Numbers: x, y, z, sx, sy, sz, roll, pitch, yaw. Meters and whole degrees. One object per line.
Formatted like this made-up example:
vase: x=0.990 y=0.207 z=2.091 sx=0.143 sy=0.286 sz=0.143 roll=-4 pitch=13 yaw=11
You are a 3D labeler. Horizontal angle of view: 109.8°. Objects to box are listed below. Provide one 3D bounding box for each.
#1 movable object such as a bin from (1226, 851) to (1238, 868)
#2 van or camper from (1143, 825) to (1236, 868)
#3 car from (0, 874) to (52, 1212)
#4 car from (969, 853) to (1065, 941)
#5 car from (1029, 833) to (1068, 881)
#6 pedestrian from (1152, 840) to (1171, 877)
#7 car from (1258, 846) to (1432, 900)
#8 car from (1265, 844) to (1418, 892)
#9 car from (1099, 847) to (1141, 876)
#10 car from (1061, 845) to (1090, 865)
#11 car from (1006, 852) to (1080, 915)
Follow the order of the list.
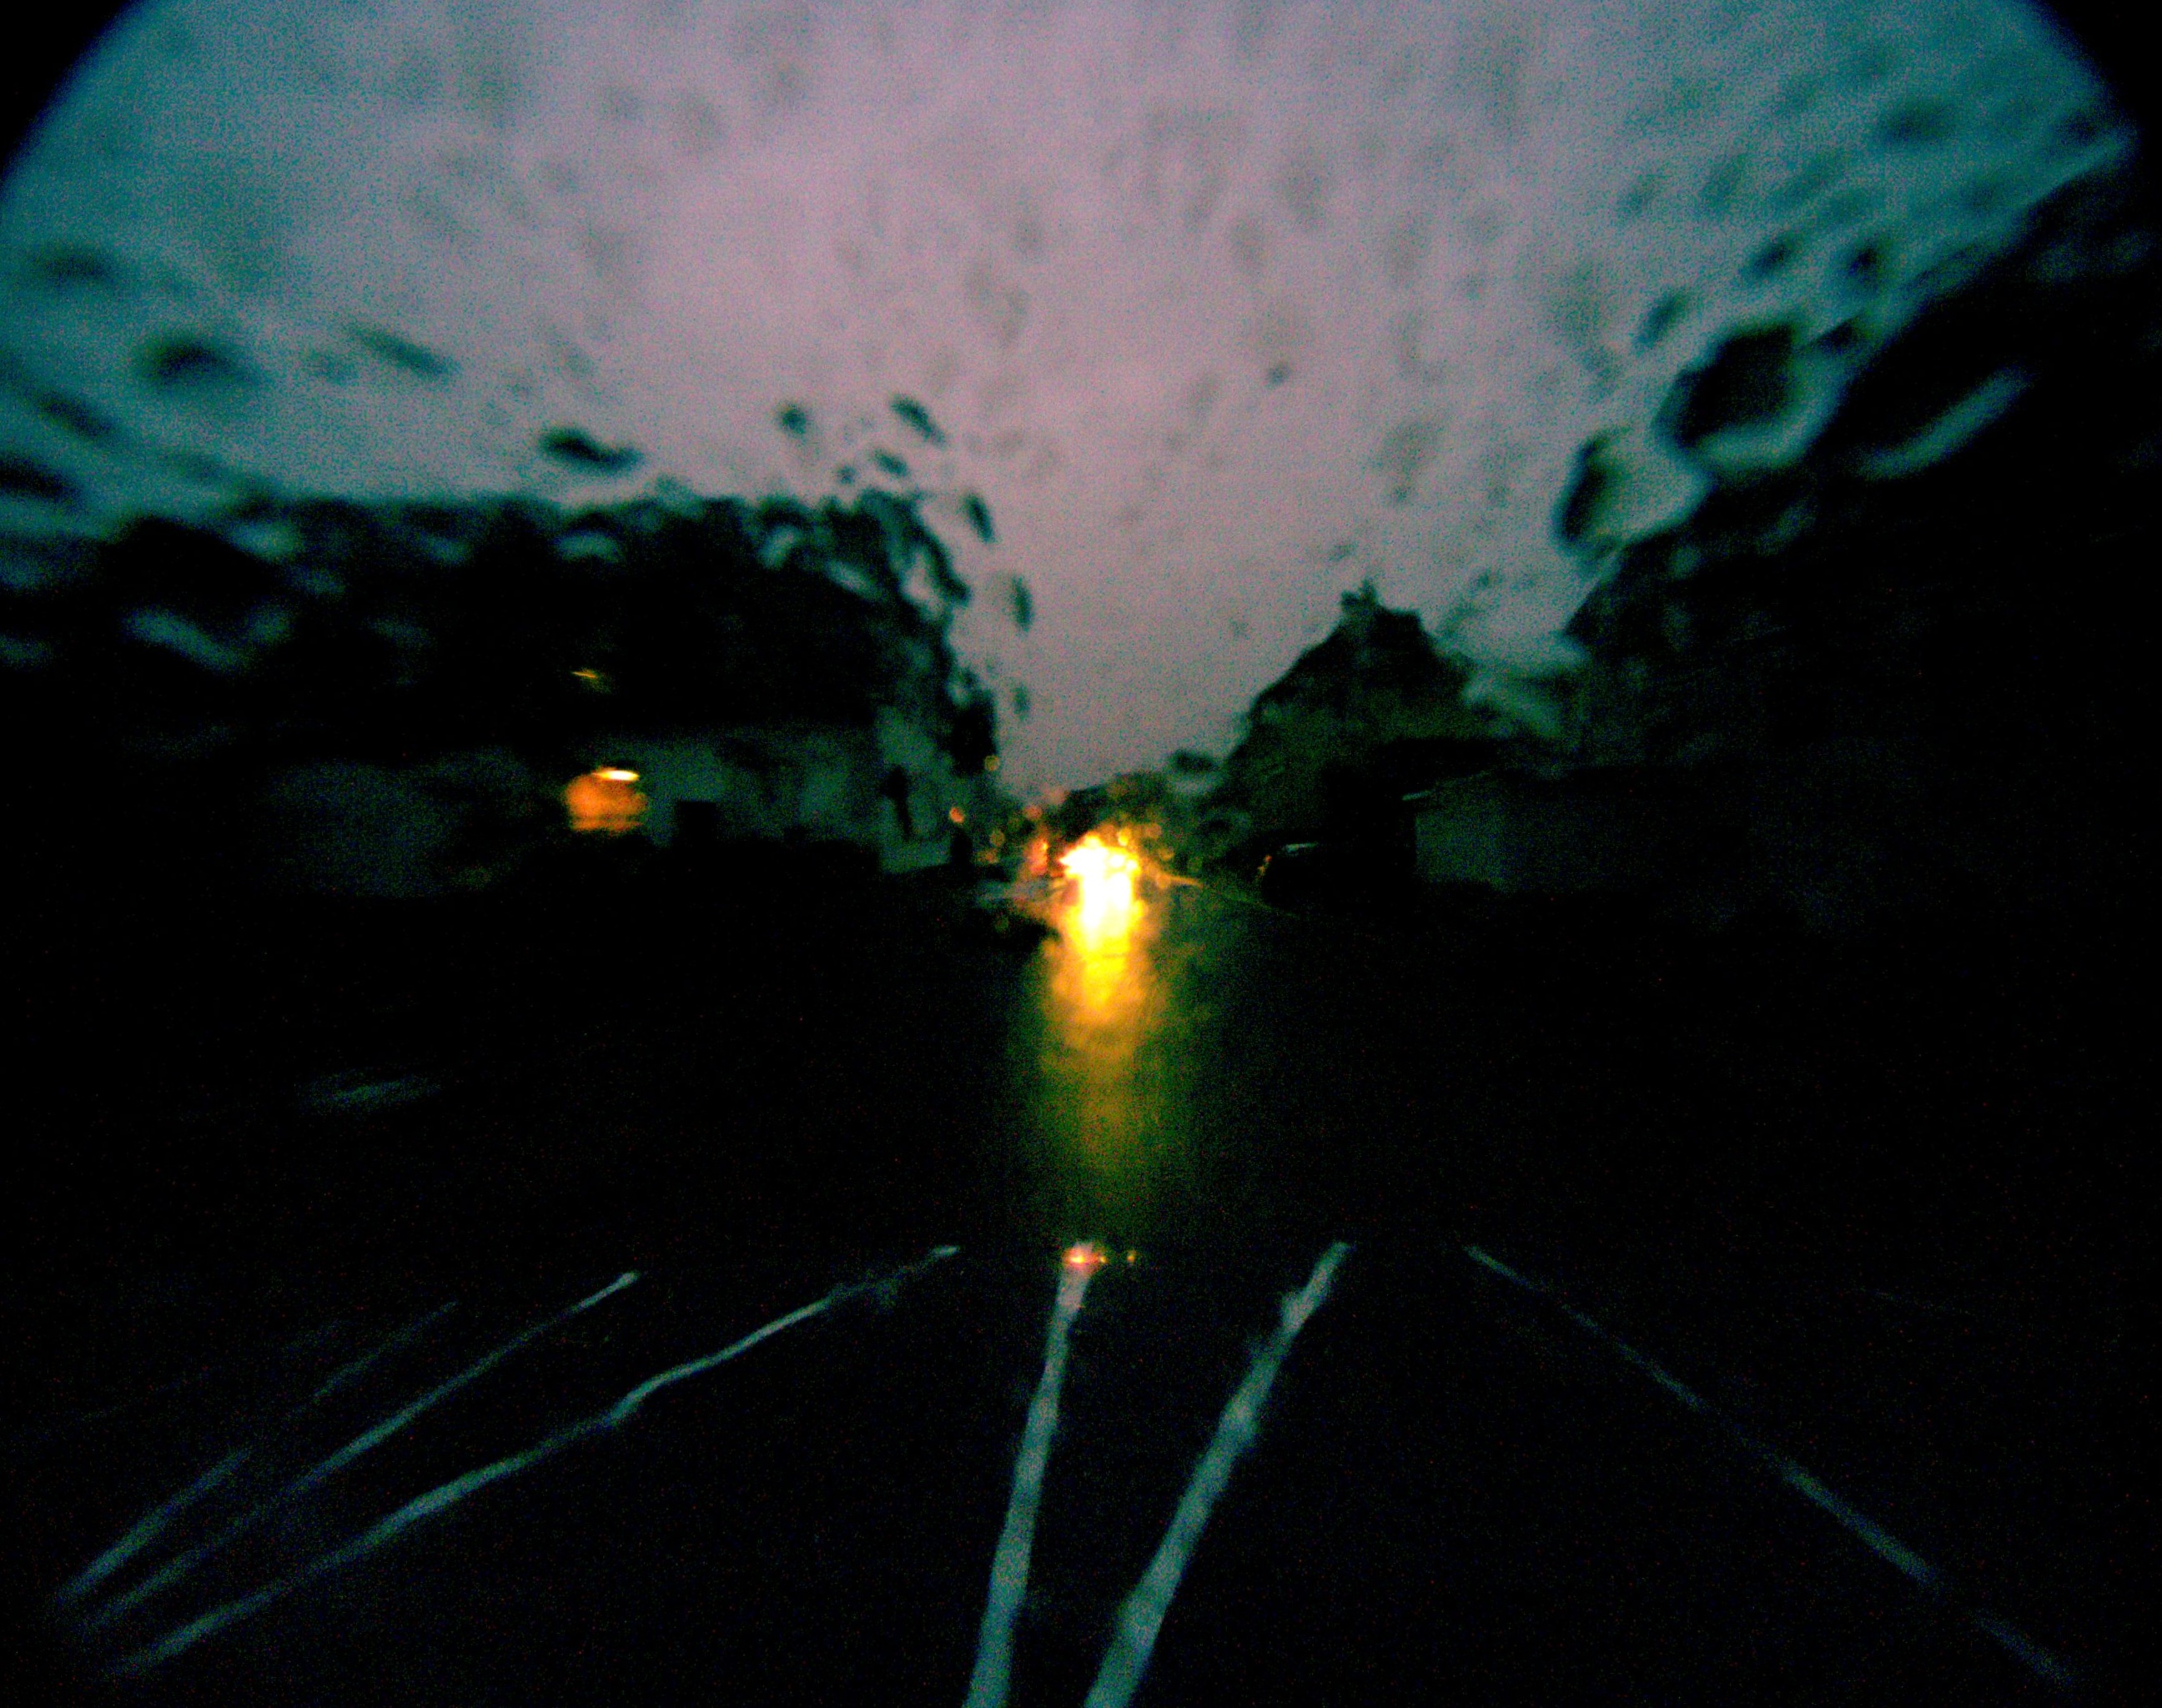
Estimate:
movable object such as a bin: x=9.402 y=0.352 z=47.436 sx=0.618 sy=1.015 sz=0.580 roll=-3 pitch=1 yaw=4
van or camper: x=7.498 y=-0.526 z=52.868 sx=6.074 sy=2.925 sz=2.323 roll=0 pitch=1 yaw=-2
car: x=-5.112 y=0.869 z=1.238 sx=1.814 sy=1.479 sz=4.271 roll=1 pitch=1 yaw=-16
car: x=-1.242 y=0.769 z=15.769 sx=1.642 sy=1.485 sz=3.998 roll=-3 pitch=1 yaw=-2
car: x=-1.878 y=0.138 z=43.915 sx=2.014 sy=2.440 sz=5.613 roll=-3 pitch=1 yaw=-3
pedestrian: x=4.422 y=0.234 z=41.773 sx=0.785 sy=2.002 sz=0.869 roll=-4 pitch=2 yaw=-1
car: x=7.905 y=0.542 z=23.098 sx=4.605 sy=1.462 sz=2.000 roll=-1 pitch=1 yaw=1
car: x=8.764 y=0.452 z=25.882 sx=4.613 sy=1.462 sz=1.892 roll=-1 pitch=1 yaw=4
car: x=2.231 y=0.388 z=44.642 sx=1.991 sy=1.549 sz=4.234 roll=-2 pitch=1 yaw=-3
car: x=-0.505 y=0.079 z=63.847 sx=1.992 sy=1.549 sz=4.233 roll=-2 pitch=1 yaw=-5
car: x=-0.961 y=0.726 z=21.035 sx=1.642 sy=1.463 sz=4.000 roll=-3 pitch=1 yaw=2
